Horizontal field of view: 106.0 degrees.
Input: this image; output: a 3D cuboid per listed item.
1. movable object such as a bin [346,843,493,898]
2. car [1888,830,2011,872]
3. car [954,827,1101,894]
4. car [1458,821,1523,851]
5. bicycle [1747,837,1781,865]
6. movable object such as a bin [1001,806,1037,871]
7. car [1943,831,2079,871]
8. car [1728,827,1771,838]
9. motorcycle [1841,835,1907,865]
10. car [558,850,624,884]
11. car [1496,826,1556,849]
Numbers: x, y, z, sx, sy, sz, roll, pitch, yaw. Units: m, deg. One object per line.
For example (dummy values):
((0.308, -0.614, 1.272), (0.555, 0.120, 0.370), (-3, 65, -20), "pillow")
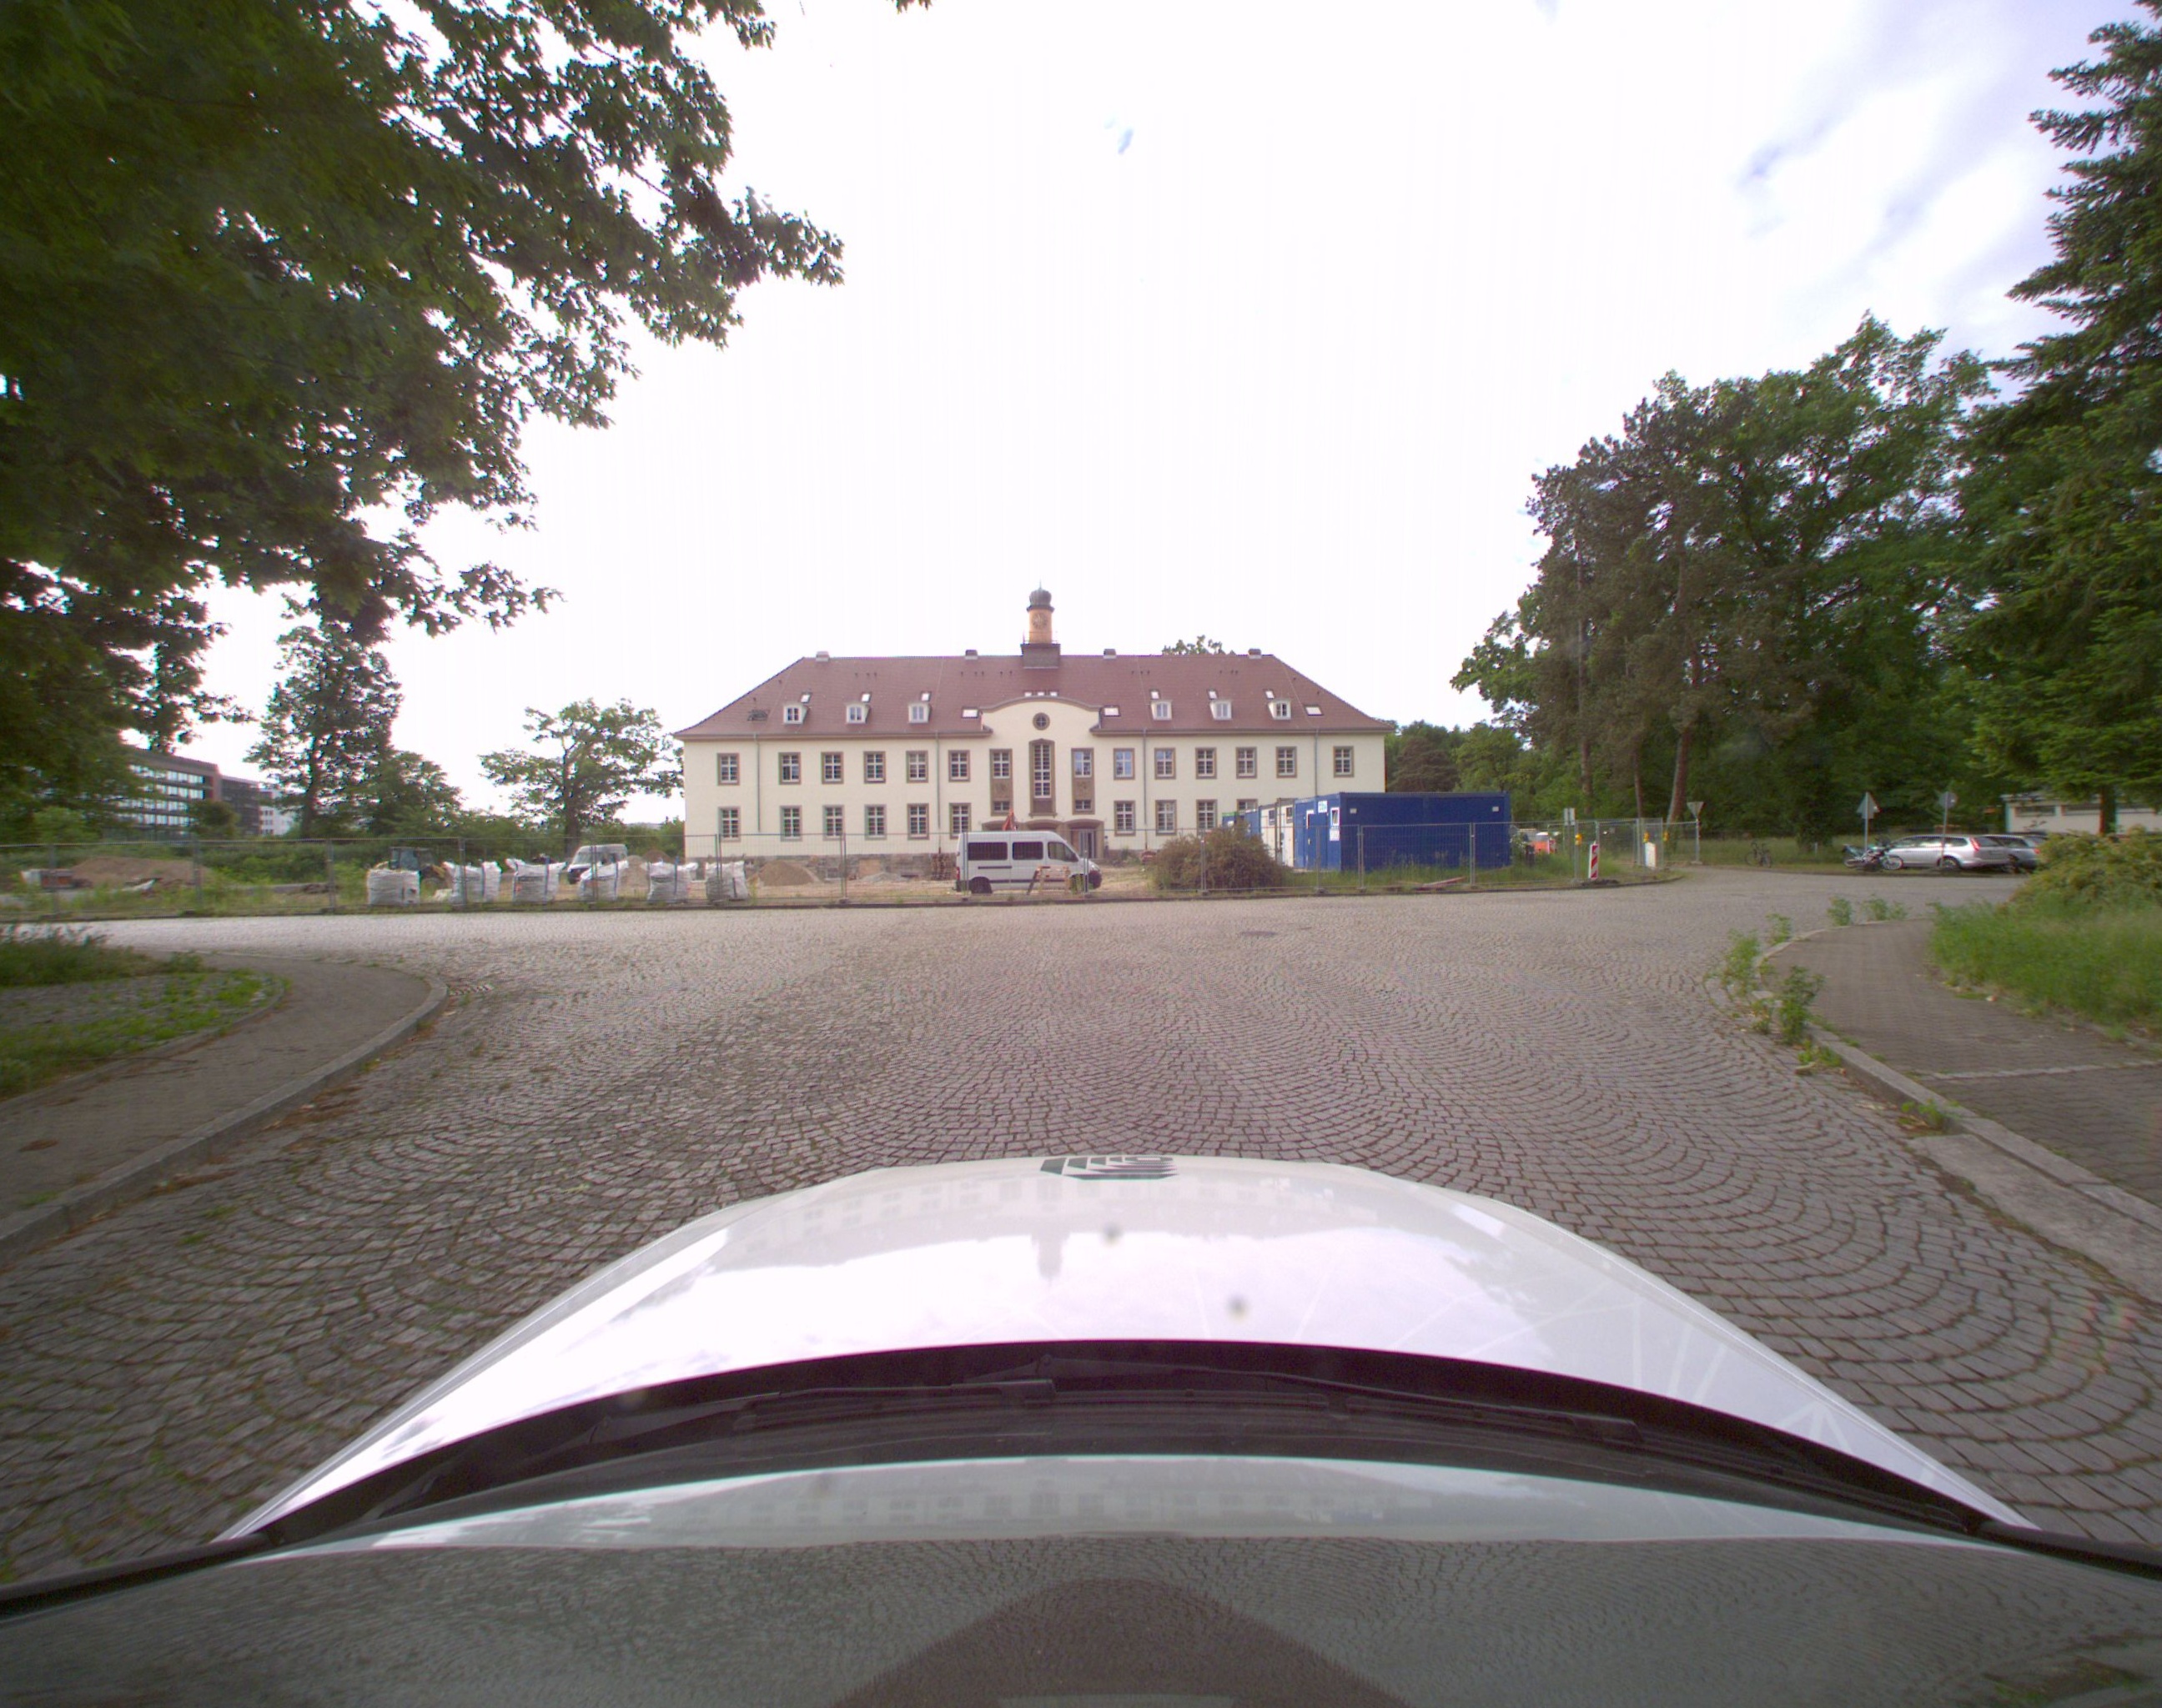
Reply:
((-32.416, 0.794, 40.045), (5.320, 2.556, 1.997), (-1, 0, -5), "movable object such as a bin")
((33.857, -0.166, 31.840), (1.319, 1.487, 3.014), (-1, 2, -12), "car")
((-1.924, 0.219, 30.166), (5.248, 2.344, 1.909), (-1, 0, -2), "car")
((29.597, -1.319, 58.819), (5.443, 2.042, 1.745), (-2, 1, -34), "car")
((28.544, -0.127, 34.054), (0.509, 1.167, 1.814), (-1, 0, 21), "bicycle")
((-3.850, -0.903, 50.056), (1.991, 3.771, 5.306), (-1, 0, -6), "movable object such as a bin")
((36.169, -0.161, 31.773), (1.386, 1.447, 3.210), (-1, 2, -11), "car")
((70.843, -2.251, 86.357), (1.262, 1.064, 3.354), (-1, 0, -37), "car")
((31.456, -0.159, 32.344), (0.516, 1.164, 1.959), (-1, 1, -8), "motorcycle")
((-32.939, 0.796, 54.916), (2.067, 2.150, 4.884), (-1, 0, -9), "car")
((30.631, -1.138, 56.032), (4.464, 1.502, 1.745), (-2, 1, -34), "car")
